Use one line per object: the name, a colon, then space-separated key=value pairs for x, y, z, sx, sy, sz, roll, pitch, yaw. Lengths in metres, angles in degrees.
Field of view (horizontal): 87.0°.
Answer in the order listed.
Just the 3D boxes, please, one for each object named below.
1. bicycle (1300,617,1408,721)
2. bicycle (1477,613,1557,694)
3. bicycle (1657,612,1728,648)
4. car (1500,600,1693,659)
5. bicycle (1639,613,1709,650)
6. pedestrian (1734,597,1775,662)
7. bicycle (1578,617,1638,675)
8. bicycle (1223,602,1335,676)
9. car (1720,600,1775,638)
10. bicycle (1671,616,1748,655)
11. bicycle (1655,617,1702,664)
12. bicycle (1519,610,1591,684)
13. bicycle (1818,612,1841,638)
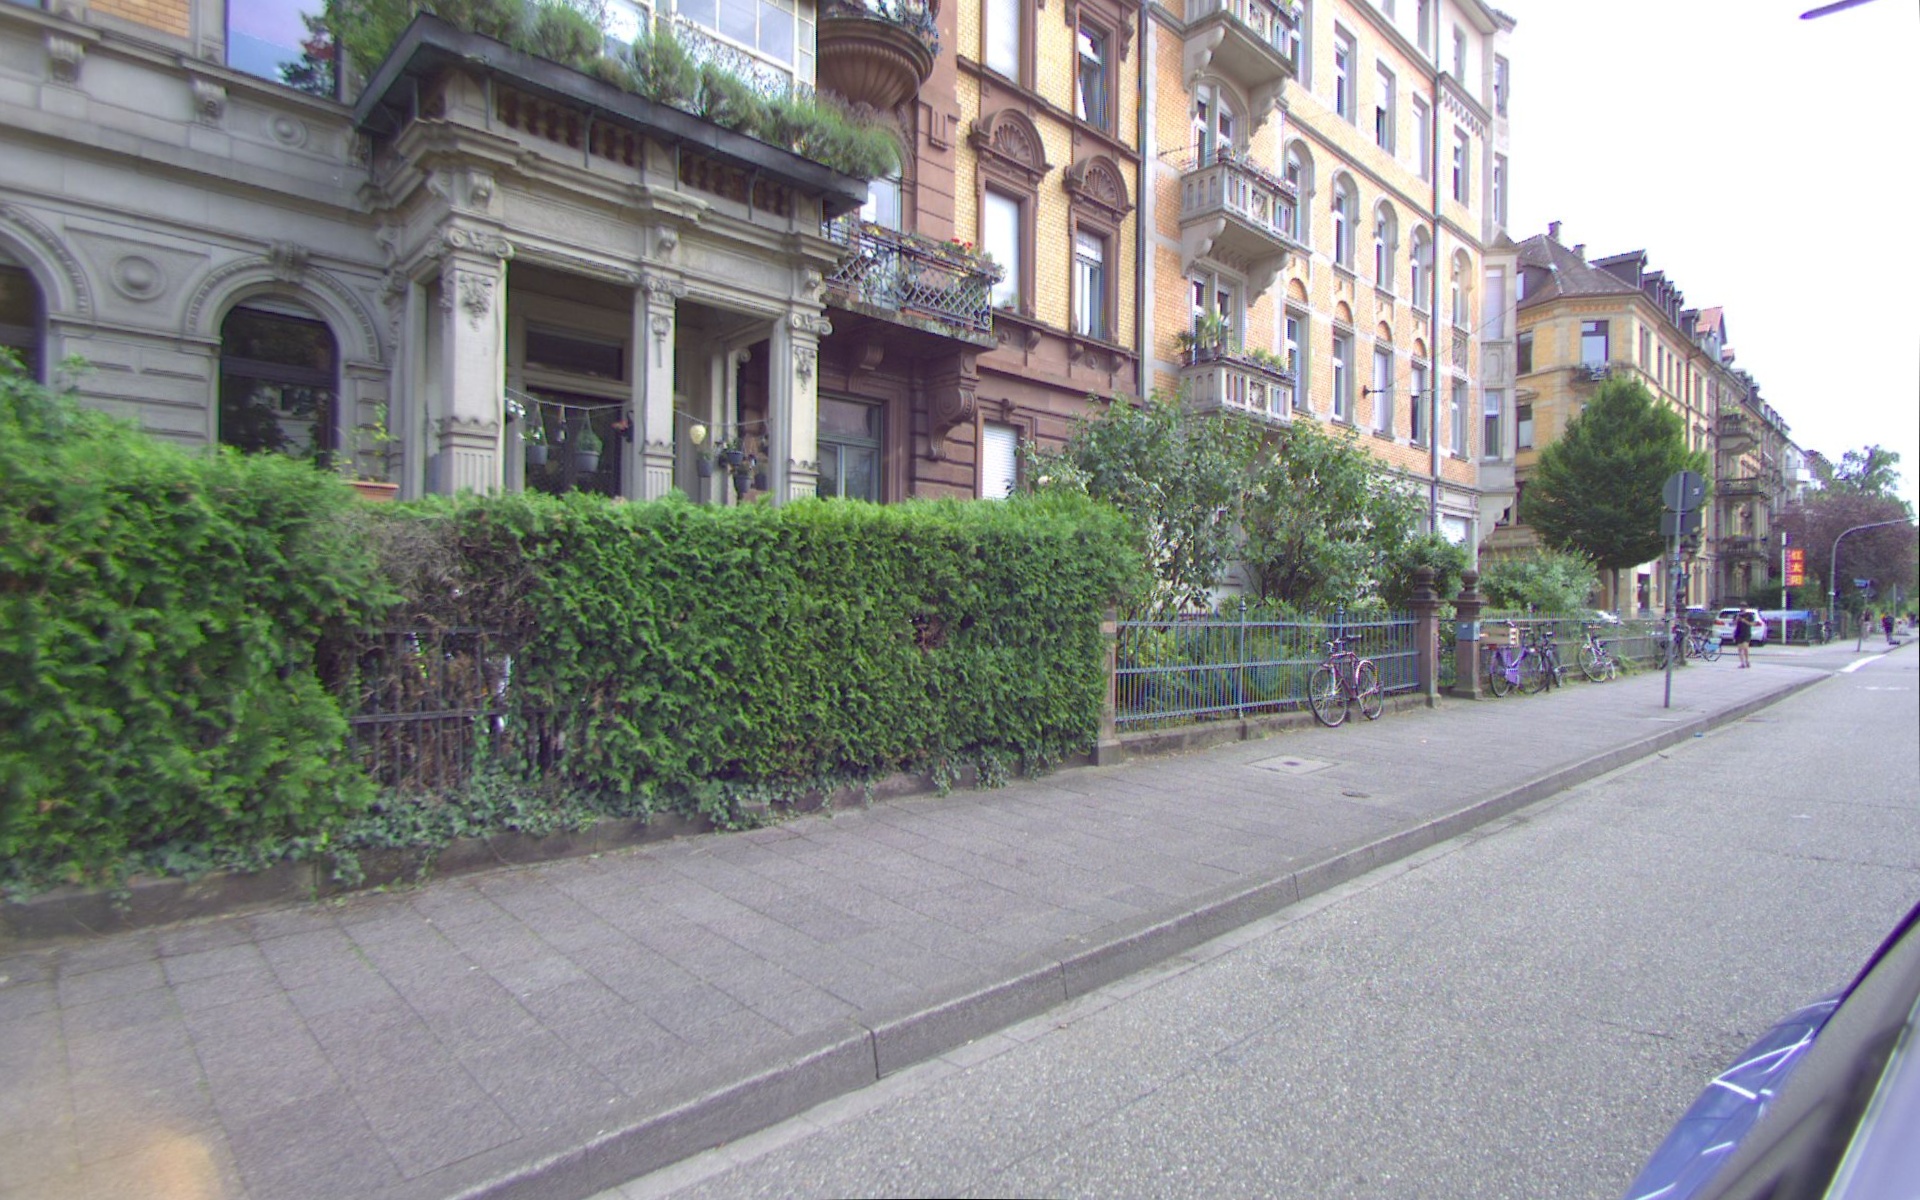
bicycle: x=4.659 y=0.772 z=11.910 sx=0.579 sy=1.126 sz=1.645 roll=0 pitch=0 yaw=45
bicycle: x=8.534 y=0.783 z=15.480 sx=0.579 sy=1.125 sz=1.645 roll=5 pitch=3 yaw=45
bicycle: x=24.256 y=0.970 z=33.541 sx=0.522 sy=1.142 sz=1.896 roll=1 pitch=0 yaw=-27
car: x=17.708 y=0.773 z=28.321 sx=1.673 sy=1.526 sz=4.290 roll=1 pitch=-1 yaw=-43
bicycle: x=23.289 y=1.021 z=33.050 sx=0.521 sy=1.142 sz=1.897 roll=1 pitch=0 yaw=-22
pedestrian: x=20.601 y=0.757 z=26.249 sx=0.821 sy=1.644 sz=0.731 roll=1 pitch=0 yaw=-44
bicycle: x=12.423 y=0.858 z=19.395 sx=0.579 sy=0.995 sz=1.645 roll=5 pitch=3 yaw=45
bicycle: x=5.236 y=0.611 z=16.695 sx=0.601 sy=1.126 sz=1.667 roll=1 pitch=0 yaw=-45
car: x=34.031 y=0.798 z=43.703 sx=1.750 sy=1.544 sz=3.941 roll=0 pitch=0 yaw=40
bicycle: x=22.604 y=1.067 z=30.534 sx=1.838 sy=1.127 sz=0.631 roll=1 pitch=0 yaw=0
bicycle: x=16.615 y=0.919 z=23.391 sx=0.579 sy=0.995 sz=1.645 roll=5 pitch=3 yaw=45
bicycle: x=9.913 y=0.761 z=16.847 sx=0.579 sy=1.125 sz=1.645 roll=5 pitch=3 yaw=45
bicycle: x=39.609 y=1.130 z=46.093 sx=1.843 sy=1.127 sz=0.629 roll=1 pitch=0 yaw=-43
